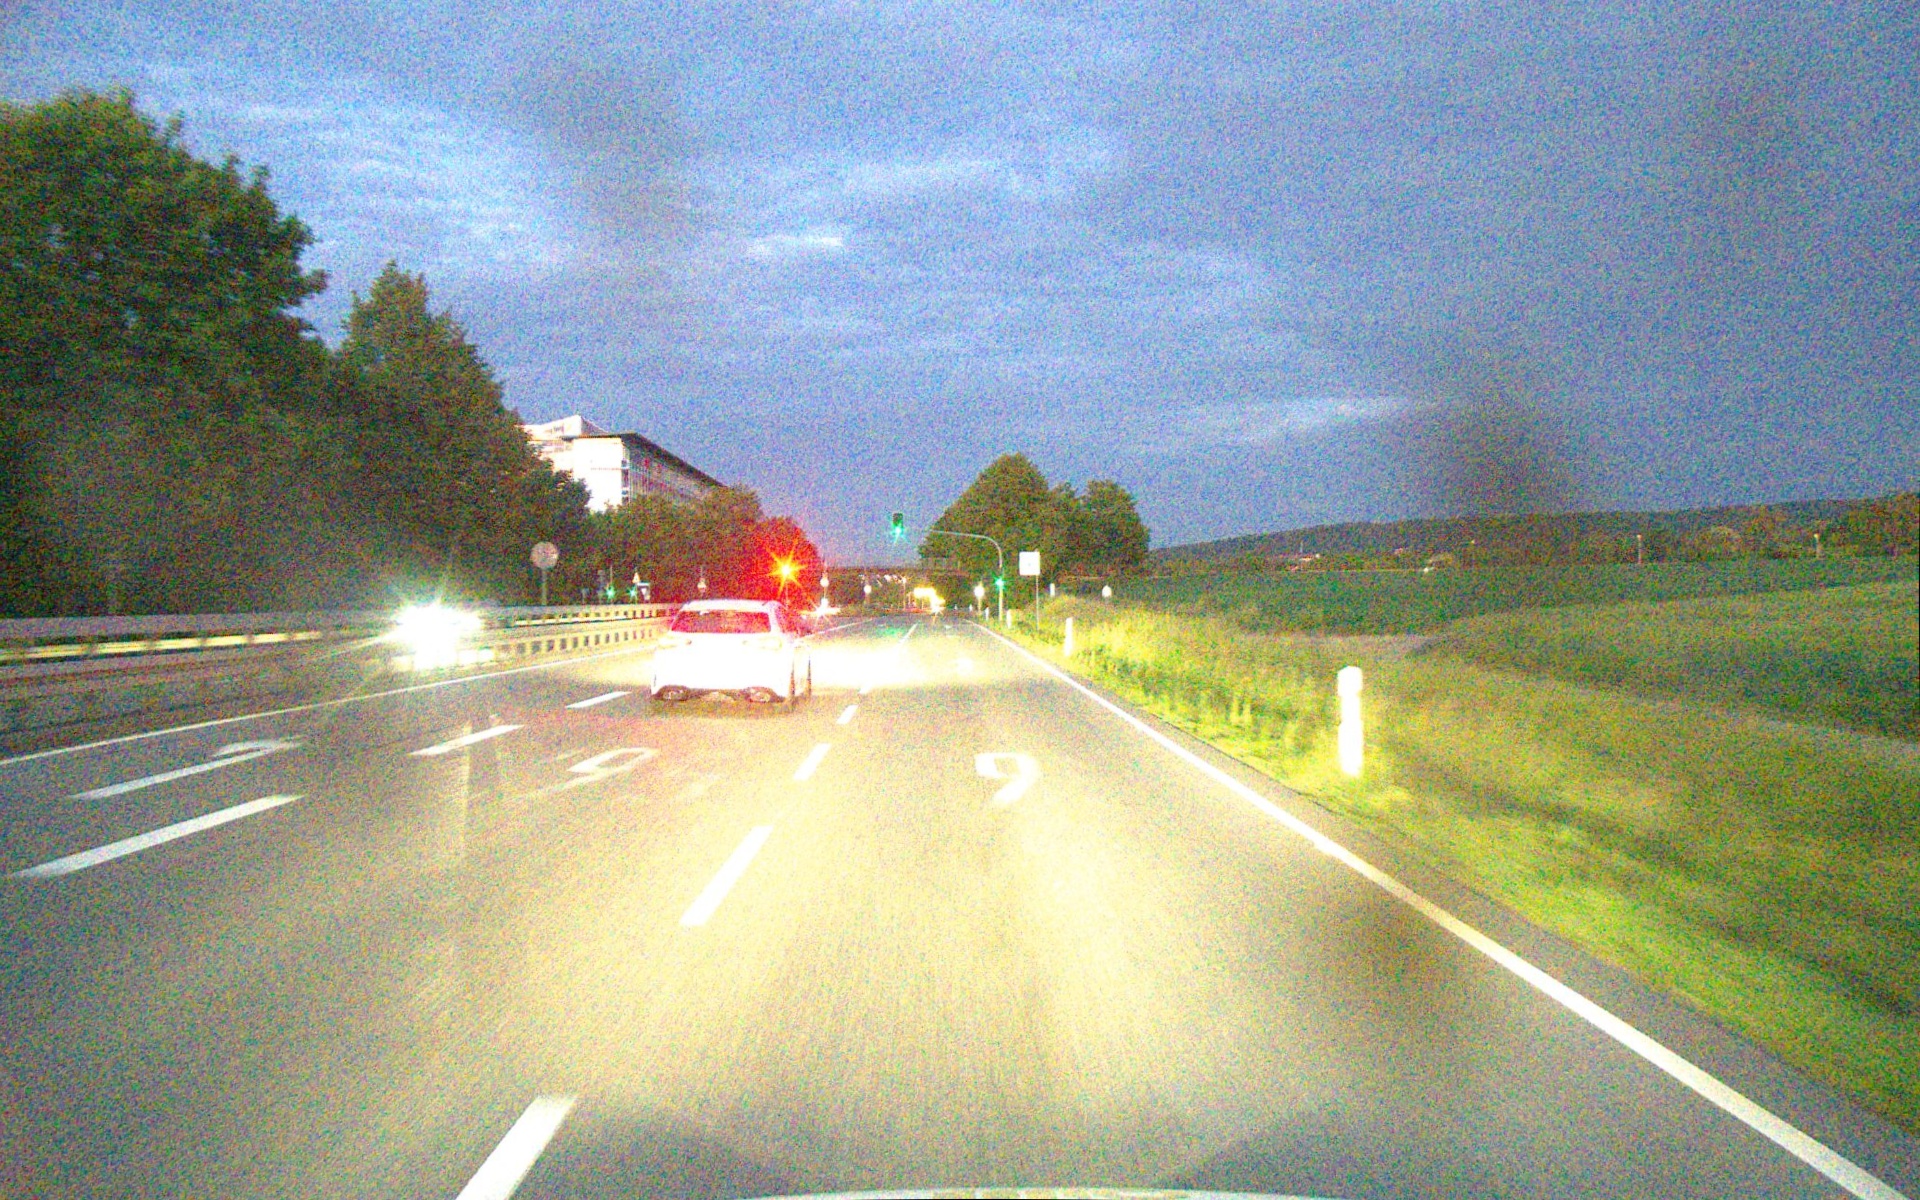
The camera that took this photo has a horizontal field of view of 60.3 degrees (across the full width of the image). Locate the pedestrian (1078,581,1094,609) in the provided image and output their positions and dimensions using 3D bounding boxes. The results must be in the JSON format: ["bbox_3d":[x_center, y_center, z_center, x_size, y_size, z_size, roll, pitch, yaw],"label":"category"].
[{"bbox_3d":[8.141,-0.335,107.114,0.903,1.824,1.106,1,0,-1],"label":"pedestrian"}]

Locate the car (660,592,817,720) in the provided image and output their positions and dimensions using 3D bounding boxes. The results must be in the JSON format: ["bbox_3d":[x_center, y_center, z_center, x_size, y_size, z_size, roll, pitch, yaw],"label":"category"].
[{"bbox_3d":[-2.865,0.662,22.190,1.609,1.516,4.578,1,0,-2],"label":"car"}]

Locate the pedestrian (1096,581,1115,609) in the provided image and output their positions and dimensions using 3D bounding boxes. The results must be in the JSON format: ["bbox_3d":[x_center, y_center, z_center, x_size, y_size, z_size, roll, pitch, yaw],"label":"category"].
[{"bbox_3d":[9.370,-0.306,106.807,1.068,1.753,1.260,1,0,-2],"label":"pedestrian"}]

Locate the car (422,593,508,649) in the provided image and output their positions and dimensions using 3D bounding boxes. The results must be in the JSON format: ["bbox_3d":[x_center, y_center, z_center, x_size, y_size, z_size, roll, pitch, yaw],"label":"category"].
[{"bbox_3d":[-16.117,0.664,54.038,1.581,1.753,4.314,1,0,-2],"label":"car"}]
